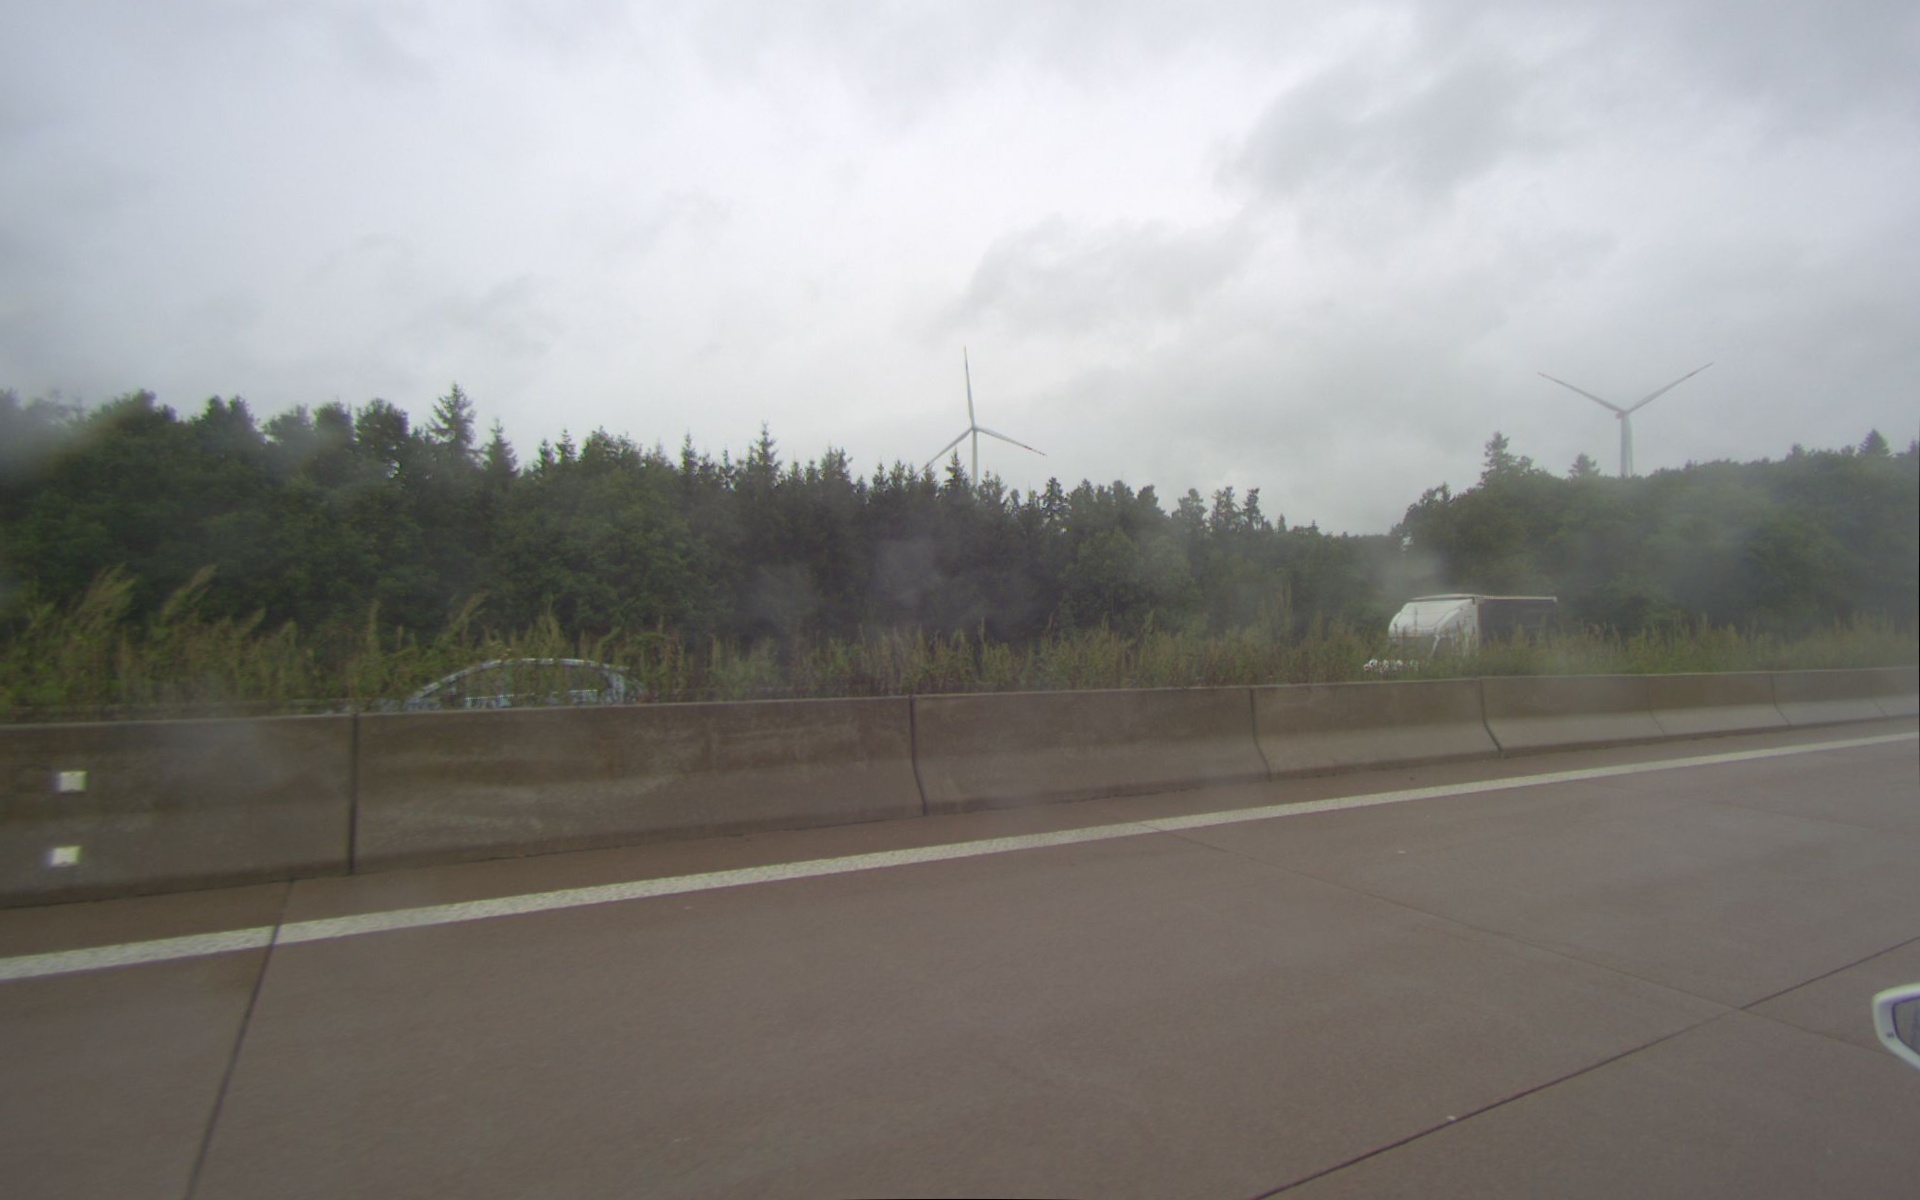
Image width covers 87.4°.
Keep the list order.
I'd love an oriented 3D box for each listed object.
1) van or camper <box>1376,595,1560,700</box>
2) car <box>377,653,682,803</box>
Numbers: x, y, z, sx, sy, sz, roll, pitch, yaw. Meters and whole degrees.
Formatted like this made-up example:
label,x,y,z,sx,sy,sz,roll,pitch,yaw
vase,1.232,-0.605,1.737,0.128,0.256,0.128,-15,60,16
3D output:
label,x,y,z,sx,sy,sz,roll,pitch,yaw
van or camper,15.946,1.442,31.520,5.364,3.040,2.472,1,0,-27
car,-6.409,1.782,15.063,3.951,1.840,1.985,1,0,-29
